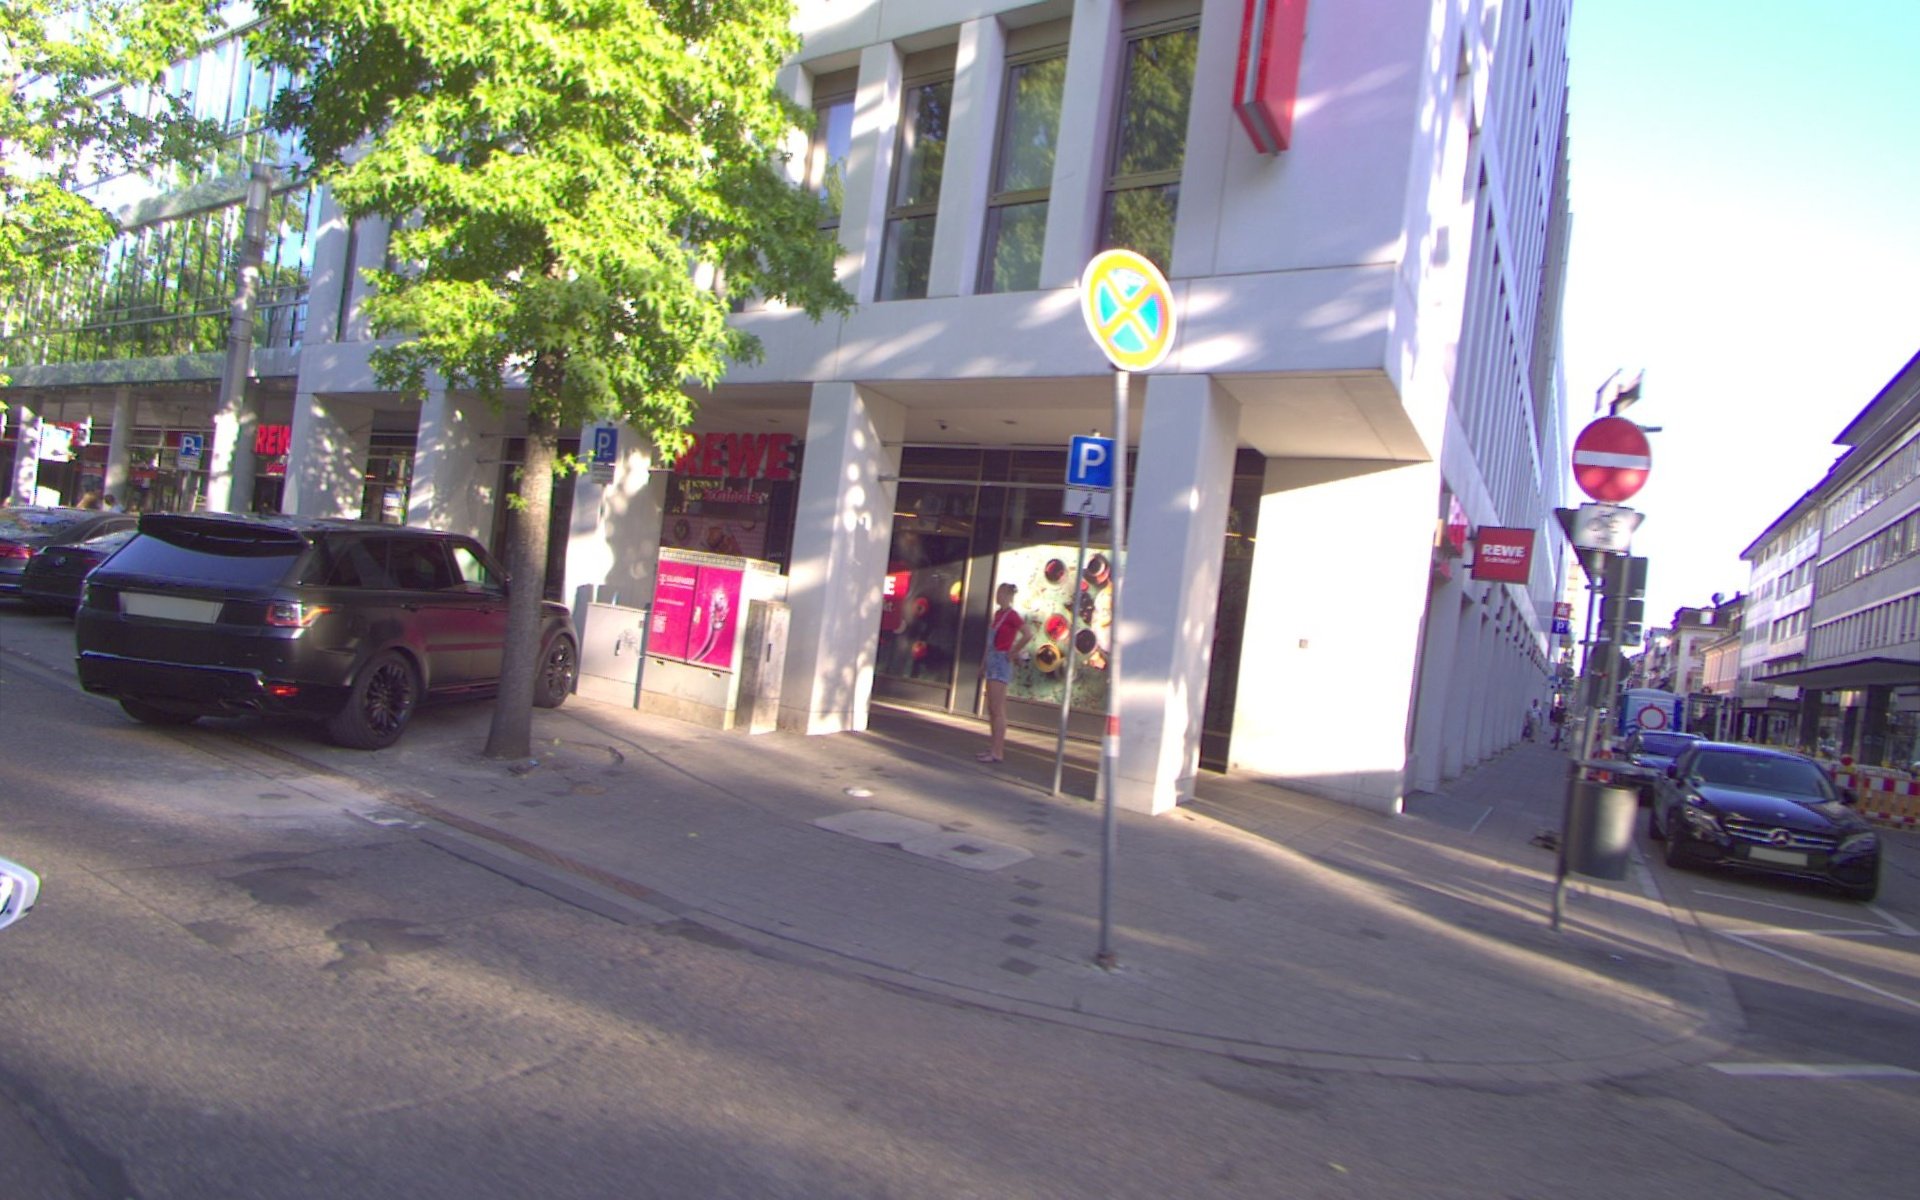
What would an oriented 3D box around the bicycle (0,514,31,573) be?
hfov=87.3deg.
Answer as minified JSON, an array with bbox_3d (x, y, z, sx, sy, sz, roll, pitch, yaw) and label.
[{"bbox_3d":[-18.658,-1.098,18.921,0.719,1.089,1.673,7,2,2],"label":"bicycle"}]

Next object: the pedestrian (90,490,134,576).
[{"bbox_3d":[-18.365,-1.444,21.785,0.550,1.773,0.523,7,2,34],"label":"pedestrian"}]

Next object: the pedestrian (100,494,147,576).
[{"bbox_3d":[-18.312,-1.423,22.014,0.542,1.716,0.517,7,0,37],"label":"pedestrian"}]

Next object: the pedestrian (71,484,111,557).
[{"bbox_3d":[-22.151,-2.023,25.633,0.516,1.773,0.557,7,2,32],"label":"pedestrian"}]

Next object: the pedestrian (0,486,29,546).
[{"bbox_3d":[-27.393,-2.424,28.868,0.868,1.644,0.714,7,1,33],"label":"pedestrian"}]

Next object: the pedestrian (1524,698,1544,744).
[{"bbox_3d":[22.853,4.806,40.040,0.485,1.755,0.639,7,0,32],"label":"pedestrian"}]

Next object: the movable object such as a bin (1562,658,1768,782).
[{"bbox_3d":[21.262,3.685,30.126,8.150,2.944,2.794,9,-1,-40],"label":"movable object such as a bin"}]

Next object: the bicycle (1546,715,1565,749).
[{"bbox_3d":[22.529,4.980,38.057,0.463,1.199,1.435,7,-1,32],"label":"bicycle"}]

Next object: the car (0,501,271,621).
[{"bbox_3d":[-13.207,-0.628,15.423,1.941,1.488,5.055,6,1,-3],"label":"car"}]

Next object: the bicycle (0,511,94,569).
[{"bbox_3d":[-19.798,-1.274,21.633,0.620,1.120,1.777,6,2,7],"label":"bicycle"}]

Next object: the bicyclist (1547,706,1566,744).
[{"bbox_3d":[22.566,4.716,38.050,0.463,1.386,0.639,7,0,32],"label":"bicyclist"}]

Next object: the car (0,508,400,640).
[{"bbox_3d":[-10.749,-0.299,14.620,1.897,1.444,4.667,6,0,11],"label":"car"}]

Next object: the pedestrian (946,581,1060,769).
[{"bbox_3d":[0.436,0.760,10.427,0.746,1.841,0.798,5,1,-25],"label":"pedestrian"}]

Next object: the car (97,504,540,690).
[{"bbox_3d":[-7.542,-0.030,12.562,1.970,1.676,4.667,7,1,8],"label":"car"}]

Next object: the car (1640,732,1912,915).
[{"bbox_3d":[9.463,2.462,12.047,1.767,1.434,4.325,5,-3,30],"label":"car"}]

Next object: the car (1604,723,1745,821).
[{"bbox_3d":[13.979,3.294,19.918,1.767,1.434,4.325,5,-3,30],"label":"car"}]

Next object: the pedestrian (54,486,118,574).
[{"bbox_3d":[-18.424,-1.465,21.207,0.540,1.716,0.681,7,0,20],"label":"pedestrian"}]

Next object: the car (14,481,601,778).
[{"bbox_3d":[-5.233,0.174,9.081,1.957,1.786,4.665,6,1,3],"label":"car"}]
